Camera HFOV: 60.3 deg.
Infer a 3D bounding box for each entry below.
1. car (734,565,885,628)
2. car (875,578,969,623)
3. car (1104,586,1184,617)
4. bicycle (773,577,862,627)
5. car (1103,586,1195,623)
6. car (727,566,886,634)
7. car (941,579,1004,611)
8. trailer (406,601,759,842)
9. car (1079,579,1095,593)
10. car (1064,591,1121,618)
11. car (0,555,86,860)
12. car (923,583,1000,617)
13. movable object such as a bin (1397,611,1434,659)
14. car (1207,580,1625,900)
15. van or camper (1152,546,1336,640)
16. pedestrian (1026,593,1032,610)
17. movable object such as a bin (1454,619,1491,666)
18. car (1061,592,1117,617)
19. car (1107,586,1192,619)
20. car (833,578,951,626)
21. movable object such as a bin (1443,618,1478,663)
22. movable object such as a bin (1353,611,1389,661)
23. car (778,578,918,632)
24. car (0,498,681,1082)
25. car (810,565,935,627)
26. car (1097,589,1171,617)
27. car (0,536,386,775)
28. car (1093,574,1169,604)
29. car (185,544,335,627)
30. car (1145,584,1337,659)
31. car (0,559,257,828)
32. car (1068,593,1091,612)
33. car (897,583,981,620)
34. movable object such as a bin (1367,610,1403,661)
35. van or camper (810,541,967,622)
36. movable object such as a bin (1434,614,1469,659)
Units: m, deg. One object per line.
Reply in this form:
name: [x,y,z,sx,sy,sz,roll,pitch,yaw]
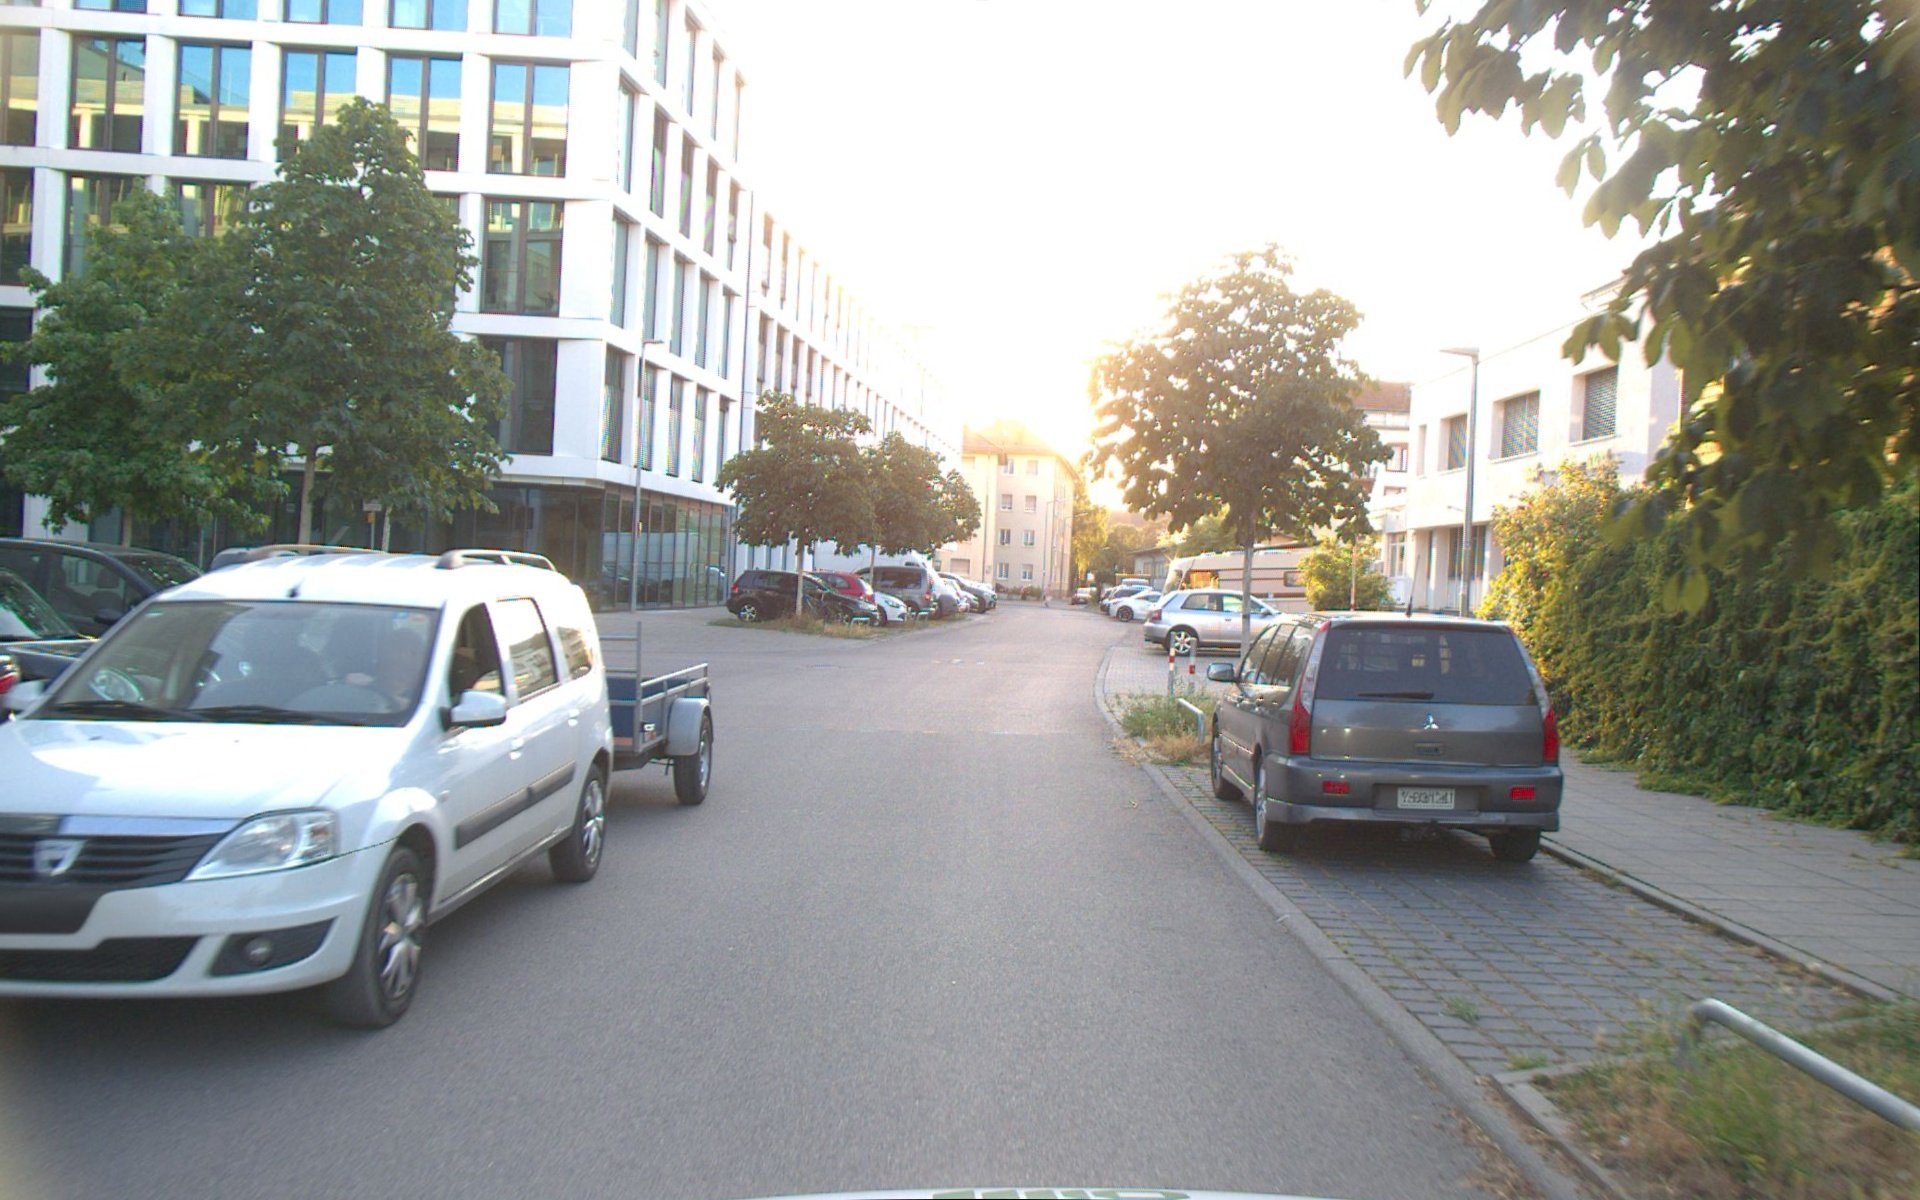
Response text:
car: [-4.307,-0.113,47.669,3.965,1.504,1.769,4,1,6]
car: [-1.481,0.003,64.732,3.484,1.680,1.459,1,1,6]
car: [9.551,0.065,86.130,3.966,1.504,1.768,1,2,1]
bicycle: [-3.673,0.056,42.709,2.133,1.194,0.811,2,0,5]
car: [8.361,0.175,73.163,3.964,1.504,1.769,1,2,6]
car: [-4.110,-0.007,44.763,3.966,1.504,1.769,4,2,3]
car: [0.613,-0.244,80.620,2.951,1.446,1.459,1,1,6]
trailer: [-2.506,0.739,11.804,1.670,1.372,3.487,2,1,0]
car: [14.449,-1.568,187.978,1.705,1.551,3.553,2,1,4]
car: [8.823,0.314,110.274,3.708,1.672,1.697,1,1,1]
car: [-6.807,0.396,8.236,3.908,1.548,1.605,5,0,-3]
car: [0.088,-0.007,78.183,3.484,1.504,1.459,1,1,6]
movable object such as a bin: [9.782,0.754,35.522,0.566,0.975,0.689,2,1,1]
car: [2.715,0.710,10.916,1.688,1.607,4.600,2,0,3]
van or camper: [9.011,-0.262,52.945,5.493,2.838,2.430,1,1,2]
pedestrian: [5.939,0.141,141.987,0.490,1.403,0.455,2,0,3]
movable object such as a bin: [11.181,0.929,36.078,0.566,0.975,0.689,2,1,1]
car: [9.109,0.333,116.771,3.825,1.672,1.710,1,1,1]
car: [9.228,0.129,80.936,3.966,1.504,1.768,1,2,1]
car: [-2.346,0.048,57.554,3.965,1.550,1.737,1,2,2]
movable object such as a bin: [11.220,0.904,37.095,0.566,0.975,0.689,2,1,1]
movable object such as a bin: [8.923,0.784,35.936,0.566,1.028,0.689,2,1,1]
car: [-3.374,0.122,50.112,3.964,1.504,1.769,1,2,6]
car: [-2.642,0.584,7.304,1.912,1.715,4.722,1,-1,1]
car: [-2.878,-0.144,55.047,3.965,1.941,1.737,1,1,2]
car: [9.797,0.167,93.302,3.966,1.504,1.768,1,2,1]
car: [-6.839,0.385,13.556,3.559,1.604,1.662,5,0,4]
car: [9.999,-0.639,97.040,4.252,1.672,1.816,1,2,1]
car: [-14.724,-0.353,34.961,1.687,1.511,3.551,2,3,-1]
car: [6.177,0.462,36.706,3.966,1.504,1.768,1,2,1]
car: [-6.923,0.465,10.856,3.808,1.514,1.651,5,0,-1]
car: [10.467,0.217,144.394,1.909,1.612,3.643,2,1,4]
car: [-0.911,0.054,72.413,3.484,1.504,1.459,1,1,6]
movable object such as a bin: [9.040,0.751,35.211,0.566,1.028,0.689,2,1,1]
van or camper: [-2.578,-0.688,60.023,5.338,2.526,1.777,4,1,6]
movable object such as a bin: [11.245,0.828,37.861,0.566,0.975,0.689,2,1,1]
